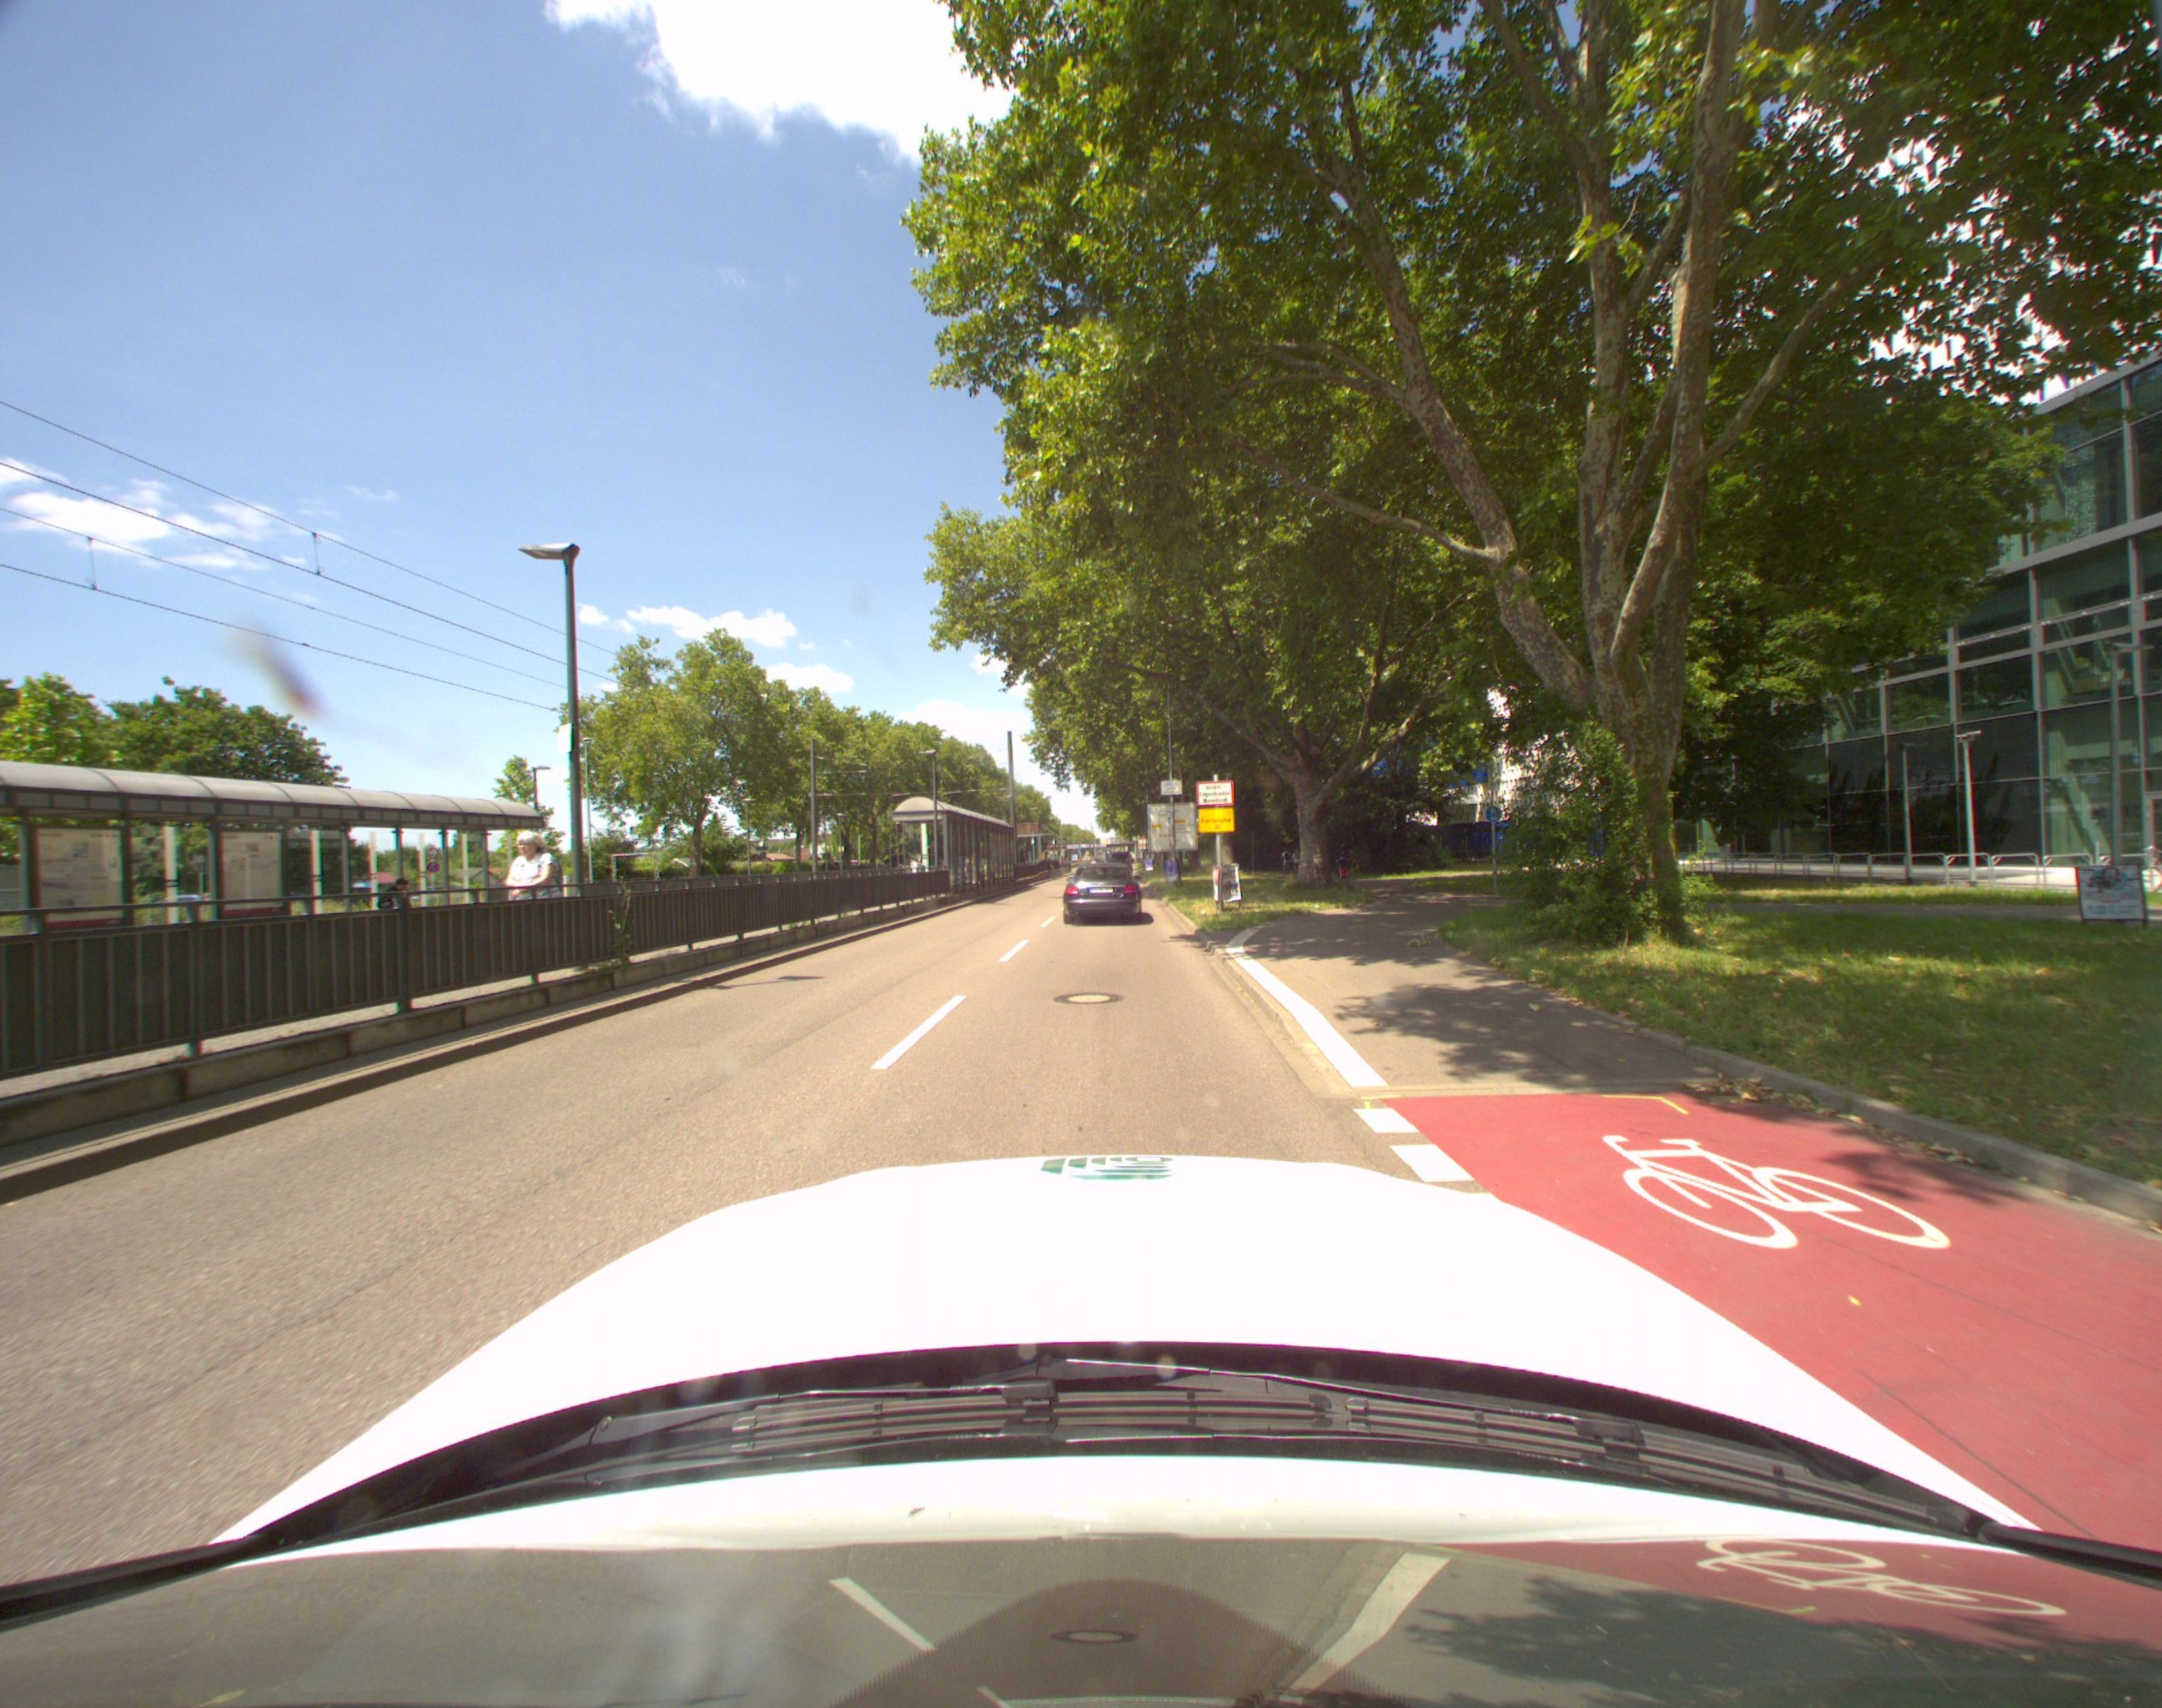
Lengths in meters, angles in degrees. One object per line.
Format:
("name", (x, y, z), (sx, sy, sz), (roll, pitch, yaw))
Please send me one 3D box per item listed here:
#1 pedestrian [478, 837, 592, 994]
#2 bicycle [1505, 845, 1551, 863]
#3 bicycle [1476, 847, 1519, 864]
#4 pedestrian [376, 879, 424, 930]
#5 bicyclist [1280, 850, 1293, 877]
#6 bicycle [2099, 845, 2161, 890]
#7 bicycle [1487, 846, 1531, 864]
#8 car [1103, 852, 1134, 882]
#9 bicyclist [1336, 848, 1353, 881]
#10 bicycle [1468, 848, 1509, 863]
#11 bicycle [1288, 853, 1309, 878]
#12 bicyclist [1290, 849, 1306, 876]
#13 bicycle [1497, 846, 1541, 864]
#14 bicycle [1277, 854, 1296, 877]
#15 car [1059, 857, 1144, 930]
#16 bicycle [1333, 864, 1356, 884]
("pedestrian", (-6.066, 0.660, 9.087), (0.729, 1.665, 0.742), (-1, 0, 2))
("bicycle", (28.822, 0.025, 52.525), (2.539, 1.110, 0.758), (-1, 0, -2))
("bicycle", (28.636, 0.077, 55.996), (2.539, 1.110, 0.758), (-1, 0, -2))
("pedestrian", (-16.463, 1.213, 19.705), (0.574, 1.190, 0.639), (-2, 0, 3))
("bicyclist", (13.438, 0.607, 53.229), (0.595, 1.746, 0.844), (-1, 0, 3))
("bicycle", (24.844, 0.293, 18.638), (2.054, 0.969, 0.868), (-1, 0, -1))
("bicycle", (28.675, 0.055, 54.540), (2.539, 1.110, 0.758), (-1, 0, -2))
("car", (2.560, 0.859, 54.901), (1.840, 1.959, 4.150), (-1, -1, 5))
("bicyclist", (12.846, 0.508, 39.750), (0.619, 1.610, 0.819), (-2, 0, 9))
("bicycle", (28.644, 0.095, 57.267), (2.539, 0.970, 0.758), (-1, 0, -2))
("bicycle", (13.003, 0.680, 48.739), (0.608, 1.420, 2.663), (-2, 0, 3))
("bicyclist", (13.011, 0.493, 48.850), (0.655, 1.599, 1.054), (-2, -1, 3))
("bicycle", (28.734, 0.039, 53.448), (2.539, 1.110, 0.758), (-1, 0, -2))
("bicycle", (13.395, 0.742, 53.105), (0.608, 1.420, 2.663), (-2, 0, 3))
("car", (0.506, 0.879, 19.972), (1.835, 1.484, 4.002), (-2, 1, 2))
("bicycle", (12.851, 0.973, 39.749), (0.642, 0.887, 2.026), (-2, 0, 5))
